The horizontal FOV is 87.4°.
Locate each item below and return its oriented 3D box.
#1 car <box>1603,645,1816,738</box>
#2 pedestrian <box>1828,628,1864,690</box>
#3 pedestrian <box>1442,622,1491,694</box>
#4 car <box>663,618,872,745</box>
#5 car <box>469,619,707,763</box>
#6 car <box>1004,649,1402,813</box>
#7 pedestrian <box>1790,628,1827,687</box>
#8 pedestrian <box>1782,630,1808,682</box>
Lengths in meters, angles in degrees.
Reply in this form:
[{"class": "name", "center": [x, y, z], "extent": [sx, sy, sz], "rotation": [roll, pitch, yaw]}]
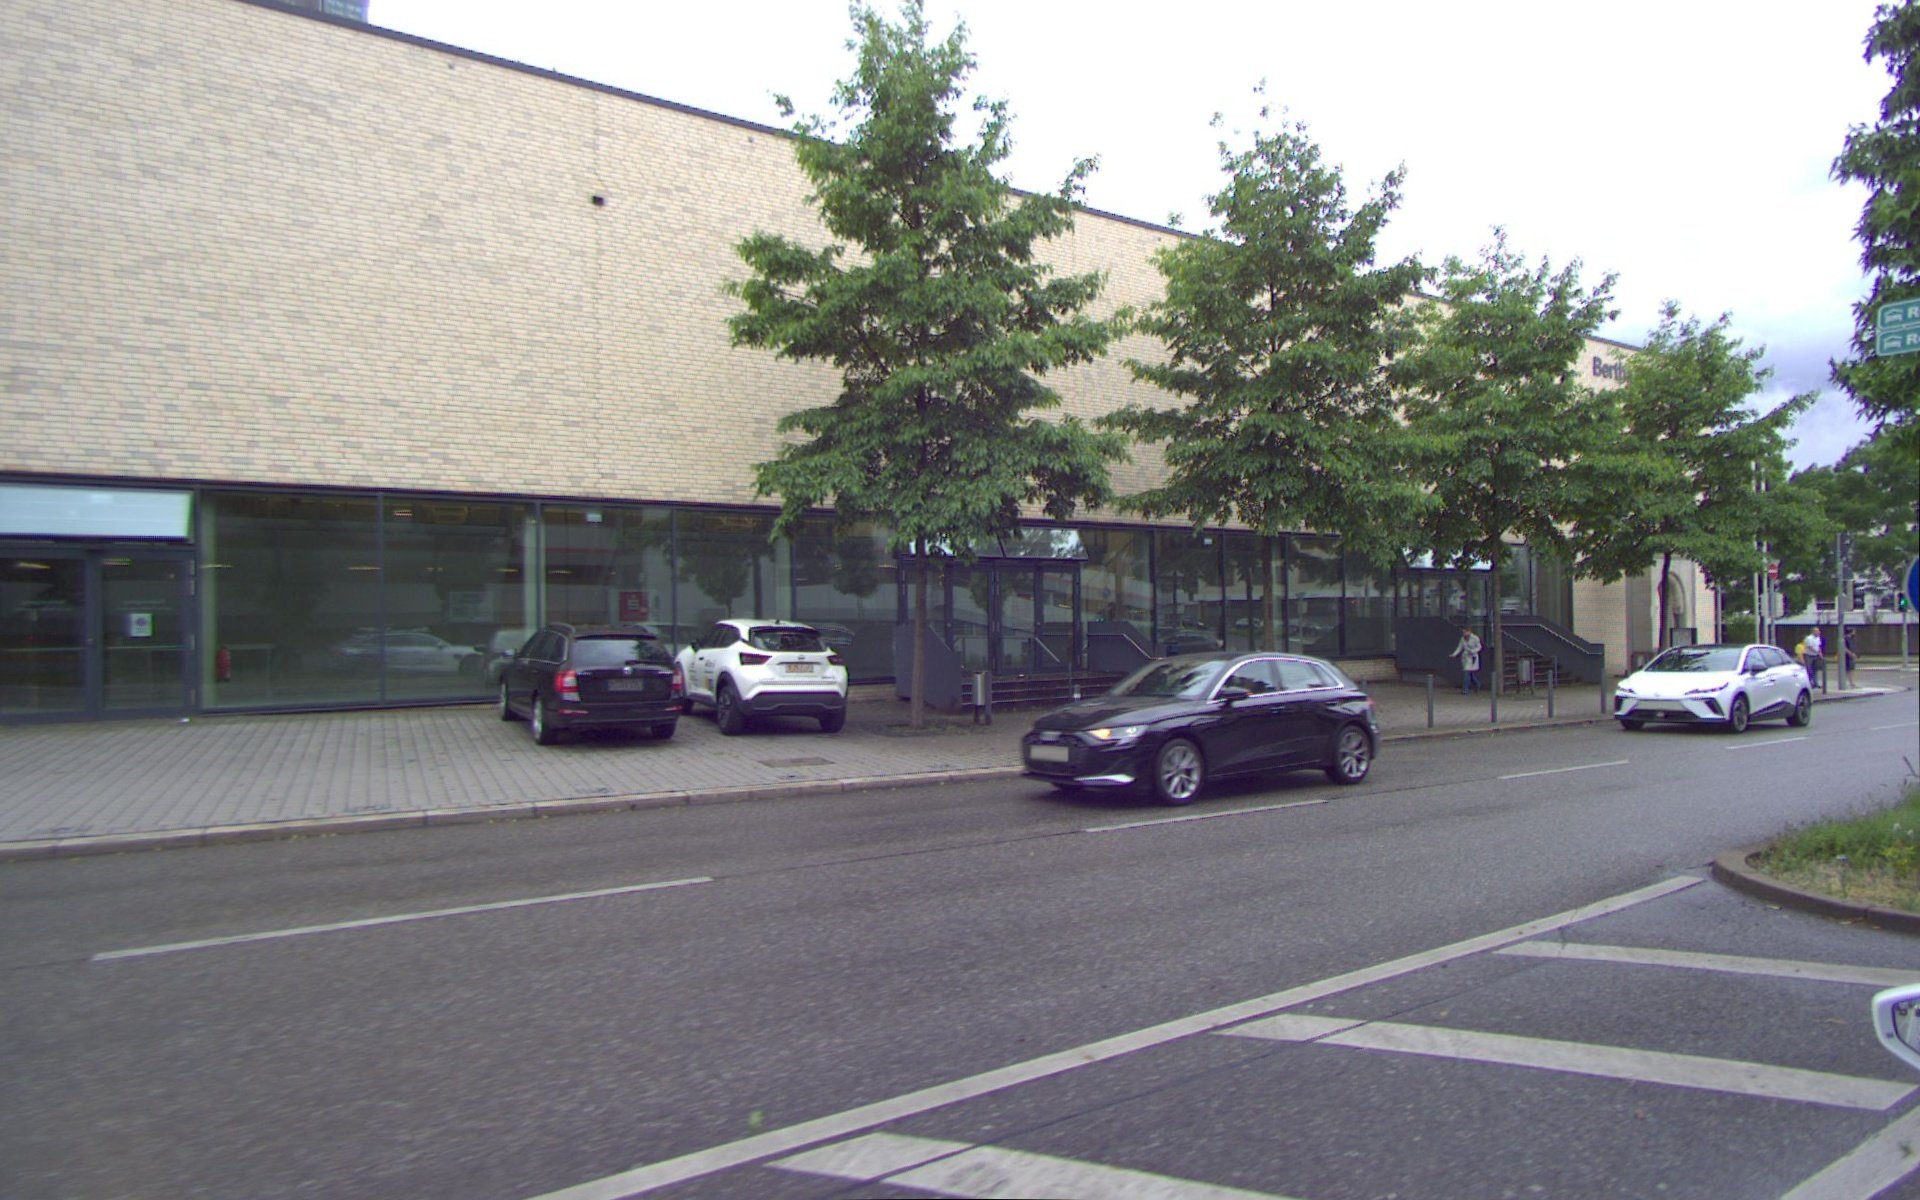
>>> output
[{"class": "car", "center": [13.573, 1.579, 18.140], "extent": [4.186, 1.488, 1.723], "rotation": [2, -4, -33]}, {"class": "pedestrian", "center": [25.994, 1.717, 29.466], "extent": [0.712, 1.781, 0.681], "rotation": [1, -1, -41]}, {"class": "pedestrian", "center": [12.405, 1.416, 24.607], "extent": [1.009, 1.688, 0.638], "rotation": [2, 0, -36]}, {"class": "car", "center": [-3.104, 1.136, 15.469], "extent": [1.975, 1.568, 4.158], "rotation": [2, -1, -28]}, {"class": "car", "center": [-5.214, 1.105, 13.739], "extent": [1.981, 1.514, 4.146], "rotation": [2, -1, -36]}, {"class": "car", "center": [2.640, 1.247, 10.602], "extent": [4.155, 1.412, 1.723], "rotation": [2, -4, -33]}, {"class": "pedestrian", "center": [24.270, 1.630, 28.744], "extent": [0.684, 1.678, 0.608], "rotation": [1, -2, -33]}, {"class": "pedestrian", "center": [25.004, 1.672, 30.088], "extent": [0.540, 1.554, 0.436], "rotation": [1, -2, -33]}]
